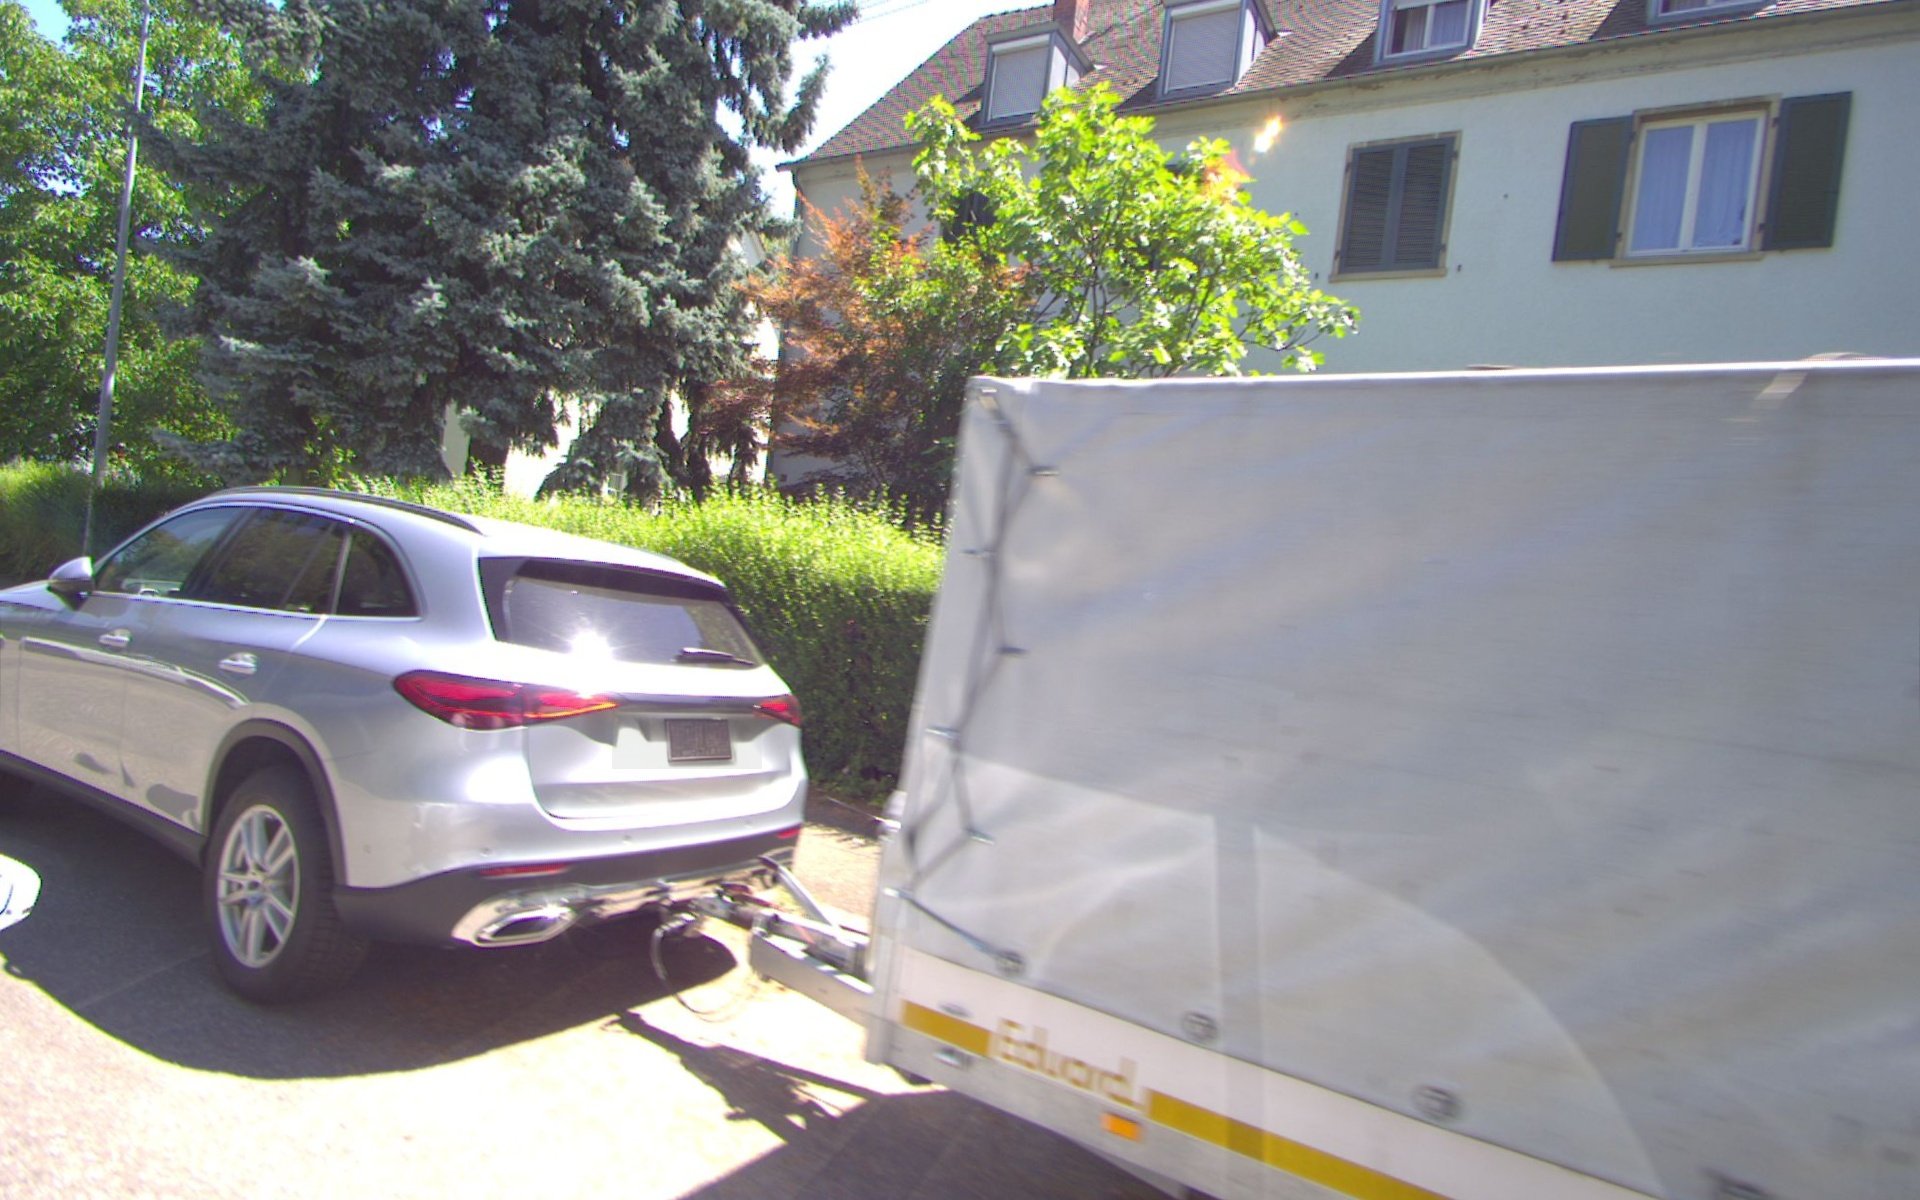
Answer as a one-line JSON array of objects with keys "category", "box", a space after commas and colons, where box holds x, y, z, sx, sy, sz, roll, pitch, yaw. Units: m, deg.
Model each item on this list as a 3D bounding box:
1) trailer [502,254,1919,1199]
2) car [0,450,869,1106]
[{"category": "trailer", "box": [0.976, 0.628, 2.293, 3.646, 2.091, 1.684, 7, -2, 31]}, {"category": "car", "box": [-2.859, 0.377, 4.592, 4.527, 1.650, 1.776, 7, -2, 31]}]
